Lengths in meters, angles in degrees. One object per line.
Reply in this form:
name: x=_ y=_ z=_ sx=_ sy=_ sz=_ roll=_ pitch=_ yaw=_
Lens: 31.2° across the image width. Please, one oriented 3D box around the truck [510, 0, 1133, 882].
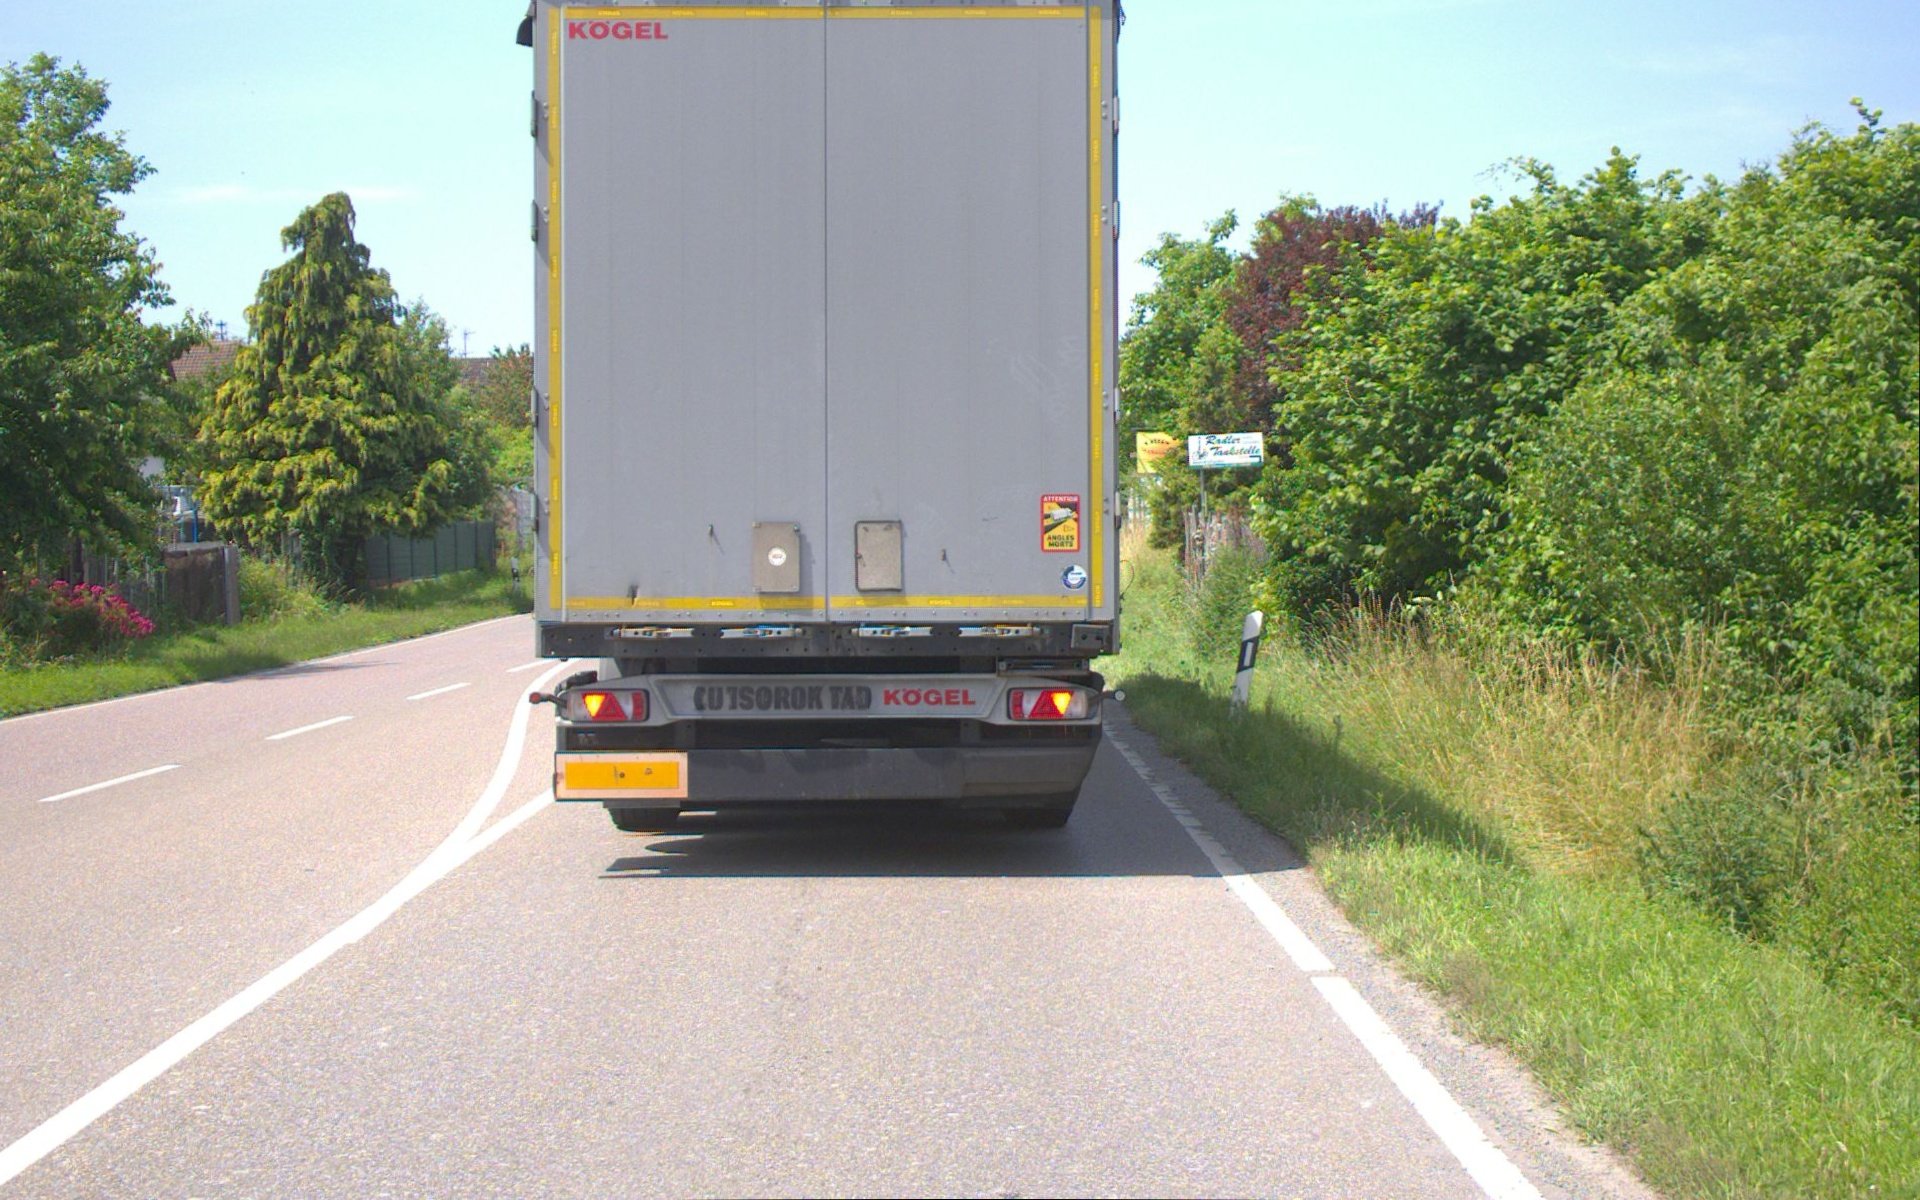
truck: x=-0.723 y=-0.825 z=19.116 sx=2.647 sy=3.903 sz=8.826 roll=0 pitch=1 yaw=-2
